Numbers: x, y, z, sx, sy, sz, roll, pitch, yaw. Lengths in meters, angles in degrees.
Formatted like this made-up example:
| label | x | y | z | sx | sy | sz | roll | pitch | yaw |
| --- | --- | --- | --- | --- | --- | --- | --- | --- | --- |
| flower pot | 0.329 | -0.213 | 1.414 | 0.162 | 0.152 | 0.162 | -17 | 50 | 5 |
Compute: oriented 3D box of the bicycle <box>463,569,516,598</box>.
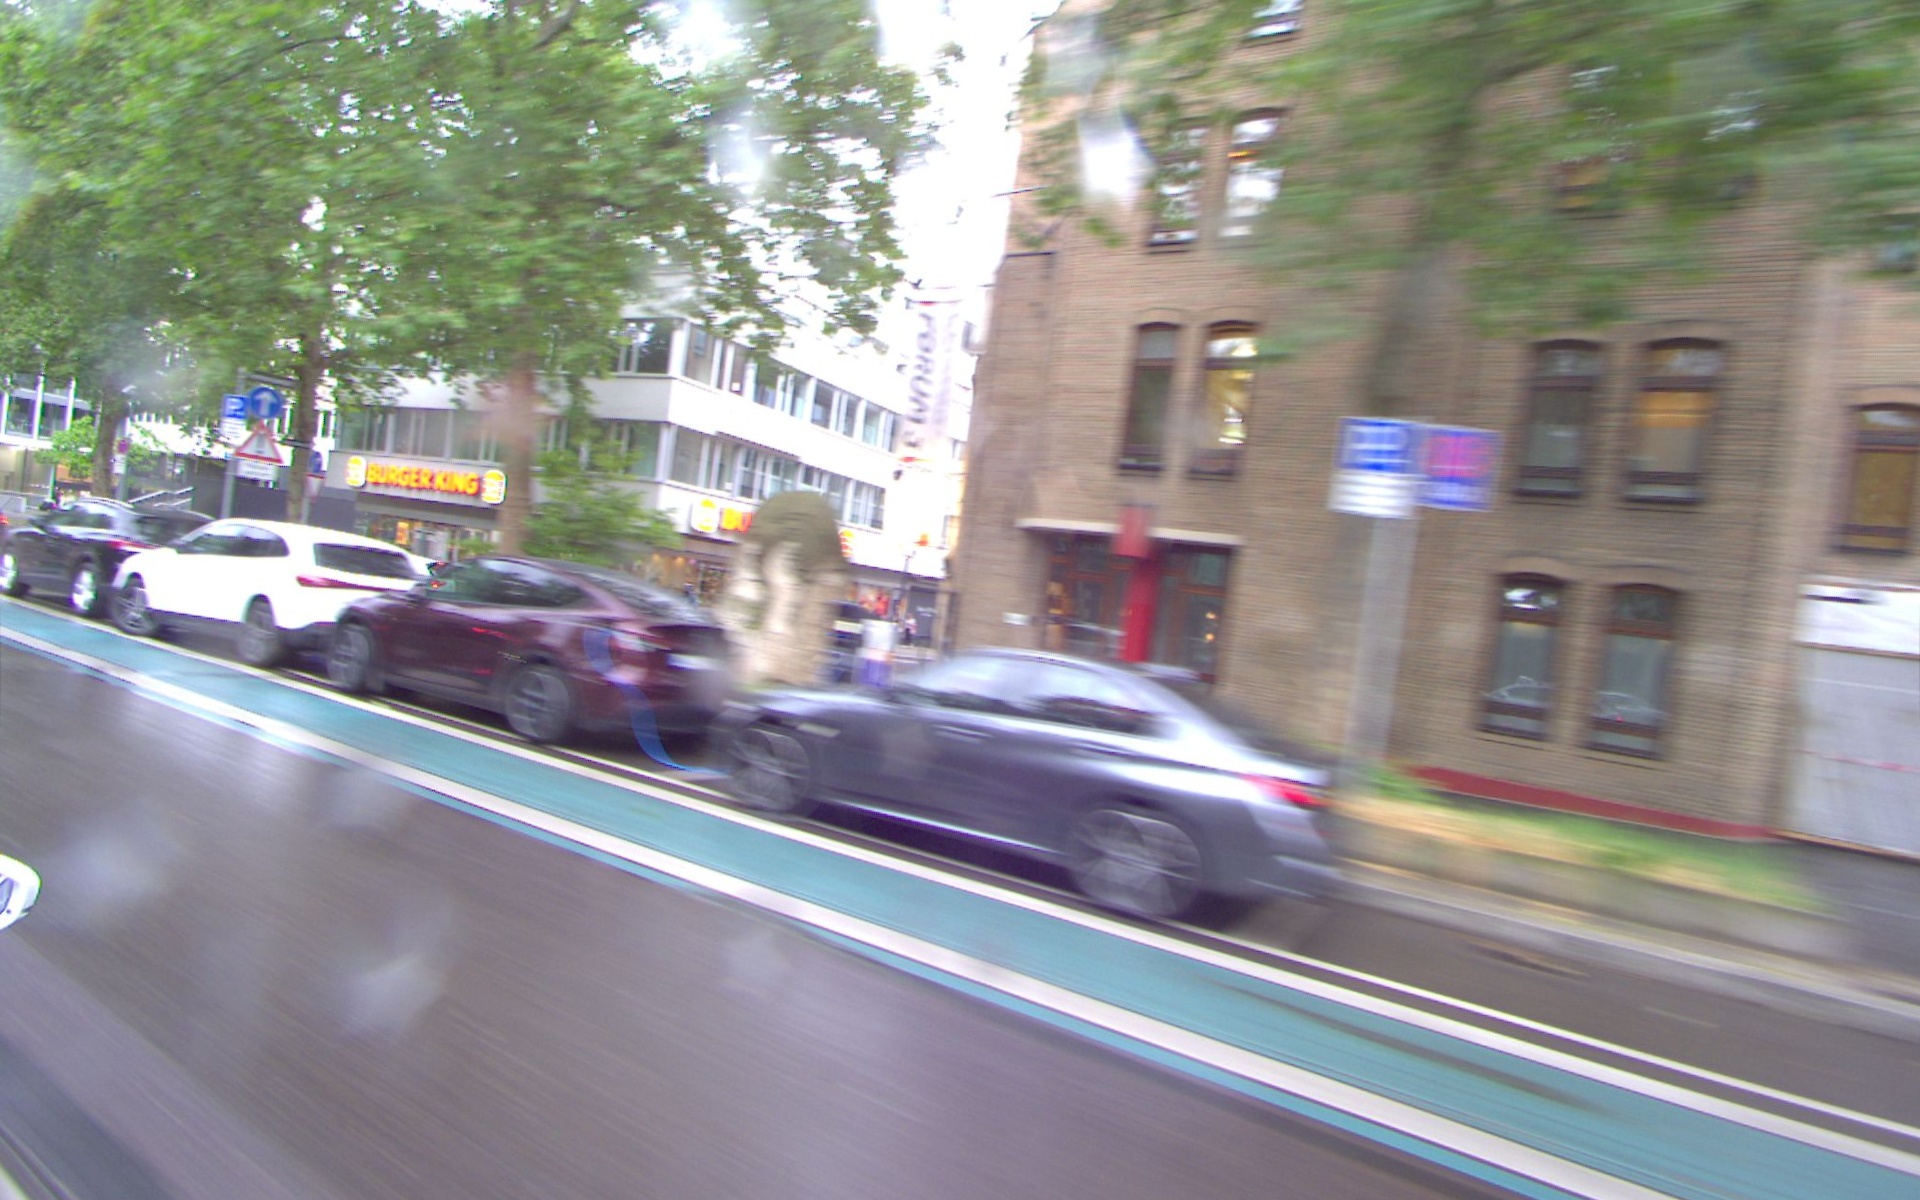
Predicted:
| label | x | y | z | sx | sy | sz | roll | pitch | yaw |
| --- | --- | --- | --- | --- | --- | --- | --- | --- | --- |
| bicycle | -17.547 | -0.618 | 37.525 | 1.878 | 0.829 | 0.643 | 7 | 0 | 23 |

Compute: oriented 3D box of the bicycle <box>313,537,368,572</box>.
| label | x | y | z | sx | sy | sz | roll | pitch | yaw |
| --- | --- | --- | --- | --- | --- | --- | --- | --- | --- |
| bicycle | -20.594 | -1.524 | 33.448 | 1.879 | 0.937 | 0.640 | 8 | 9 | 26 |

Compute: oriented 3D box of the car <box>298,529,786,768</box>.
| label | x | y | z | sx | sy | sz | roll | pitch | yaw |
| --- | --- | --- | --- | --- | --- | --- | --- | --- | --- |
| car | -4.227 | 0.403 | 10.075 | 4.481 | 1.608 | 1.999 | 7 | -1 | 28 |

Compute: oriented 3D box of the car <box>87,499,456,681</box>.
| label | x | y | z | sx | sy | sz | roll | pitch | yaw |
| --- | --- | --- | --- | --- | --- | --- | --- | --- | --- |
| car | -8.501 | -0.138 | 12.360 | 4.333 | 1.604 | 1.756 | 7 | -1 | 27 |

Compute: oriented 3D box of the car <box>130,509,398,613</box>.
| label | x | y | z | sx | sy | sz | roll | pitch | yaw |
| --- | --- | --- | --- | --- | --- | --- | --- | --- | --- |
| car | -15.499 | -0.819 | 22.645 | 4.432 | 1.458 | 1.870 | 8 | -6 | -8 |

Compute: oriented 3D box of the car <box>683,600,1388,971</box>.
| label | x | y | z | sx | sy | sz | roll | pitch | yaw |
| --- | --- | --- | --- | --- | --- | --- | --- | --- | --- |
| car | 0.391 | 1.034 | 7.065 | 4.509 | 1.449 | 1.746 | 7 | -1 | 31 |

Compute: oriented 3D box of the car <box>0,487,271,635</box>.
| label | x | y | z | sx | sy | sz | roll | pitch | yaw |
| --- | --- | --- | --- | --- | --- | --- | --- | --- | --- |
| car | -12.471 | -0.604 | 14.992 | 4.349 | 1.621 | 1.797 | 7 | -1 | 30 |

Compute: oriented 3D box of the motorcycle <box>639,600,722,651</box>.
| label | x | y | z | sx | sy | sz | roll | pitch | yaw |
| --- | --- | --- | --- | --- | --- | --- | --- | --- | --- |
| motorcycle | -7.900 | 0.716 | 28.472 | 1.983 | 1.156 | 0.869 | 8 | 0 | 14 |

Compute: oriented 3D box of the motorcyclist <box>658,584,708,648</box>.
| label | x | y | z | sx | sy | sz | roll | pitch | yaw |
| --- | --- | --- | --- | --- | --- | --- | --- | --- | --- |
| motorcyclist | -7.824 | 0.469 | 28.449 | 0.855 | 1.664 | 0.850 | 7 | 0 | 13 |

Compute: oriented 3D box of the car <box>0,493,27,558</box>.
| label | x | y | z | sx | sy | sz | roll | pitch | yaw |
| --- | --- | --- | --- | --- | --- | --- | --- | --- | --- |
| car | -23.614 | -1.937 | 22.340 | 3.928 | 1.430 | 1.770 | 7 | 0 | -3 |
